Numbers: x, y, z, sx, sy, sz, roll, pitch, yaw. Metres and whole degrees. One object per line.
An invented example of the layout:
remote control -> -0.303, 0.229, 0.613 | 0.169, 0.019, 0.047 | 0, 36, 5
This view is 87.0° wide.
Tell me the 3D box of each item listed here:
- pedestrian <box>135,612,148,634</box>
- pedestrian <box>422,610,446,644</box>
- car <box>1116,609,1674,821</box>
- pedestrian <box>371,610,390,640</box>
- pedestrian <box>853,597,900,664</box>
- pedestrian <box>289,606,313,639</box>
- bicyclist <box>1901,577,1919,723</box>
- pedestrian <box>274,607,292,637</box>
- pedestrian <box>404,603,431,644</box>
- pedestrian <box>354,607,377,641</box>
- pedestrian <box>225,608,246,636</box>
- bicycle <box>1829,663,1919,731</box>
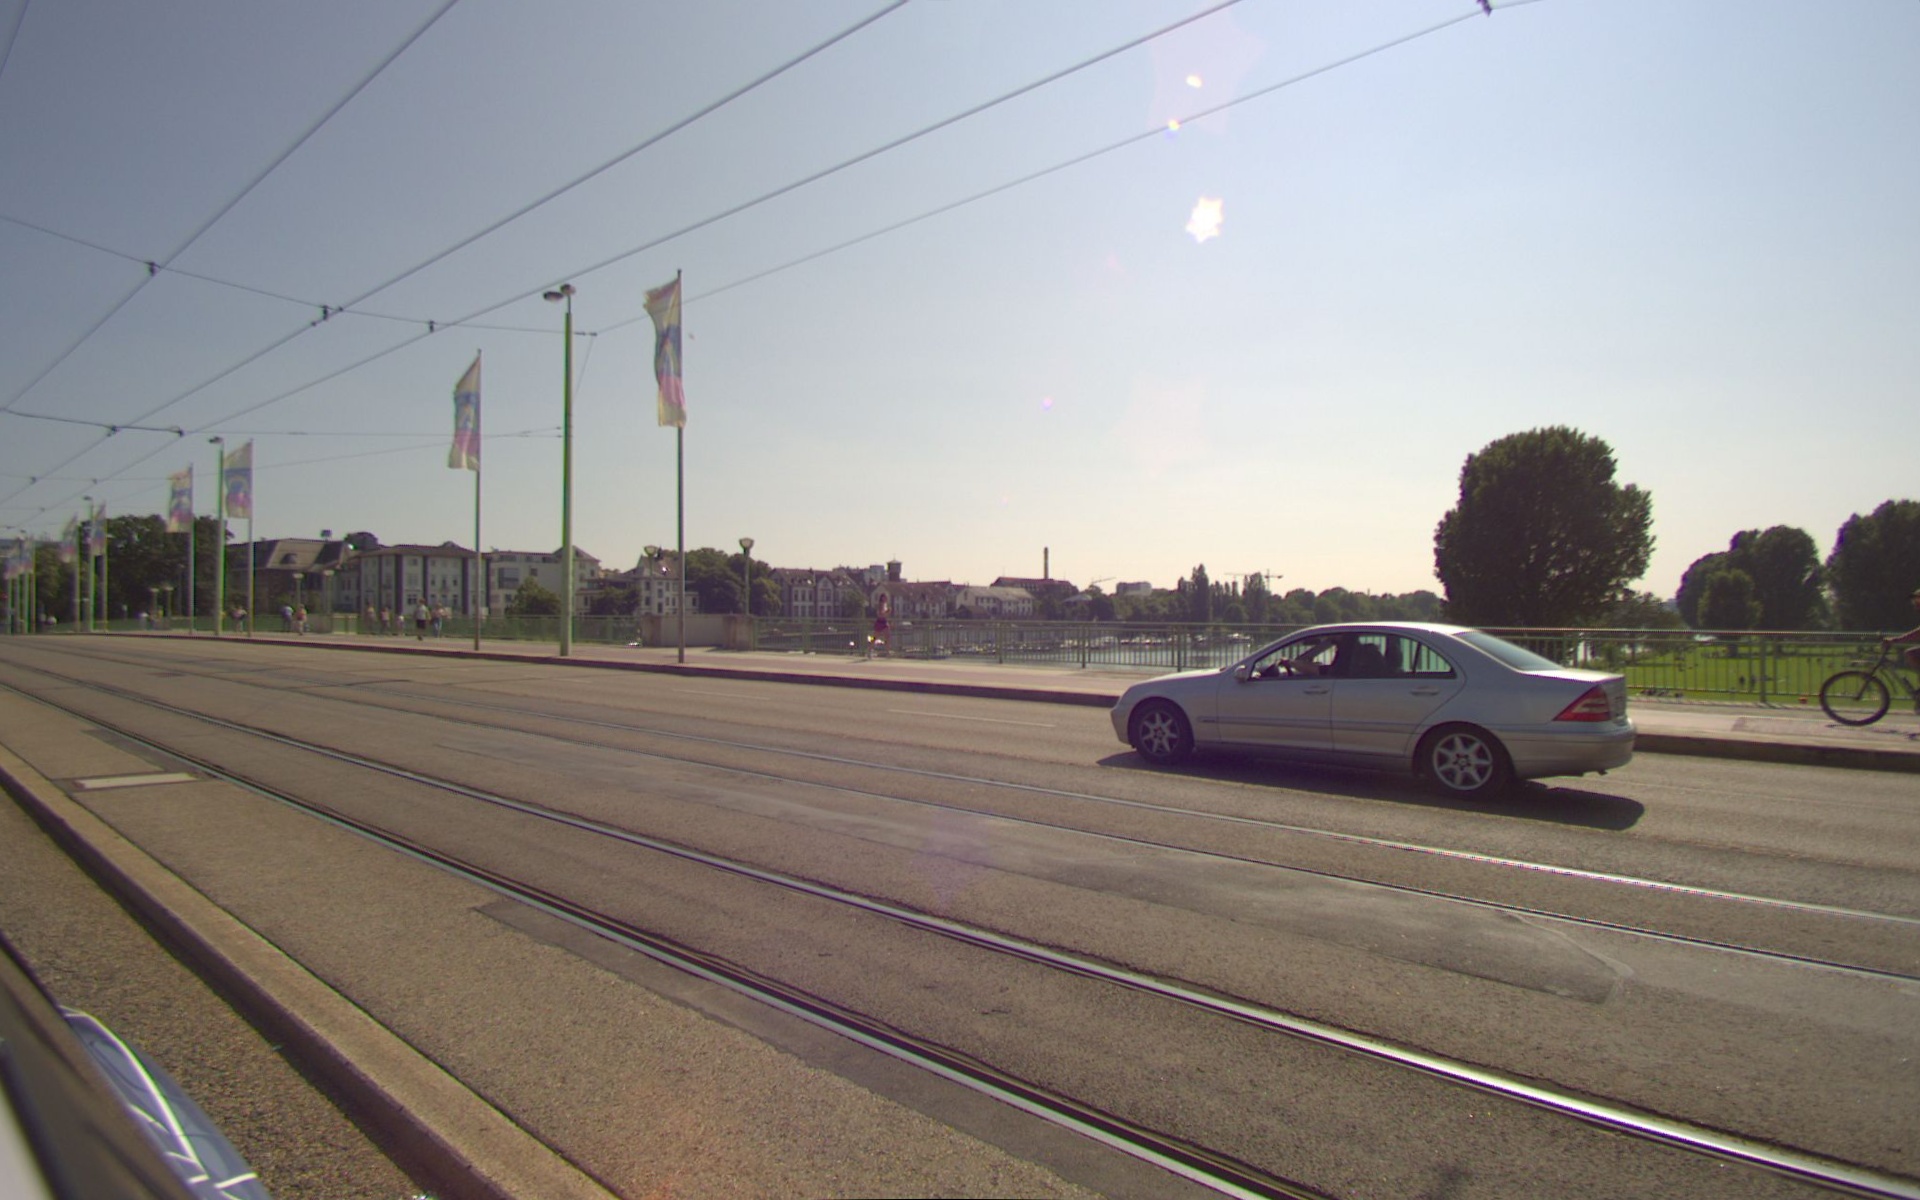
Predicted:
pedestrian -> -67.067, 1.876, 82.943 | 0.904, 1.712, 0.584 | -1, 3, 41
pedestrian -> -22.746, 1.167, 43.751 | 1.022, 1.425, 0.584 | -1, 1, 41
car -> 3.740, 0.830, 9.179 | 4.370, 1.471, 1.714 | 0, -1, 40
pedestrian -> -28.093, 1.215, 49.084 | 0.788, 1.448, 0.540 | -1, 1, 41
pedestrian -> -2.215, 0.787, 26.771 | 1.022, 1.703, 0.677 | -1, 1, 41
pedestrian -> -34.890, 1.197, 53.564 | 1.022, 1.712, 0.777 | -1, 1, 41
bicyclist -> 11.255, 0.561, 11.606 | 0.621, 1.663, 0.621 | -2, 0, 42
pedestrian -> -39.741, 1.271, 59.419 | 1.022, 1.712, 0.584 | -1, 1, 41
pedestrian -> -23.183, 1.005, 43.271 | 1.022, 1.712, 0.663 | -1, 1, 41
pedestrian -> -28.512, 1.148, 48.565 | 1.022, 1.611, 0.619 | -1, 1, 41
pedestrian -> -44.490, 1.355, 62.178 | 1.022, 1.712, 0.777 | -3, 0, 41
bicycle -> 11.200, 1.123, 11.669 | 1.770, 0.721, 0.614 | -2, 0, 42
